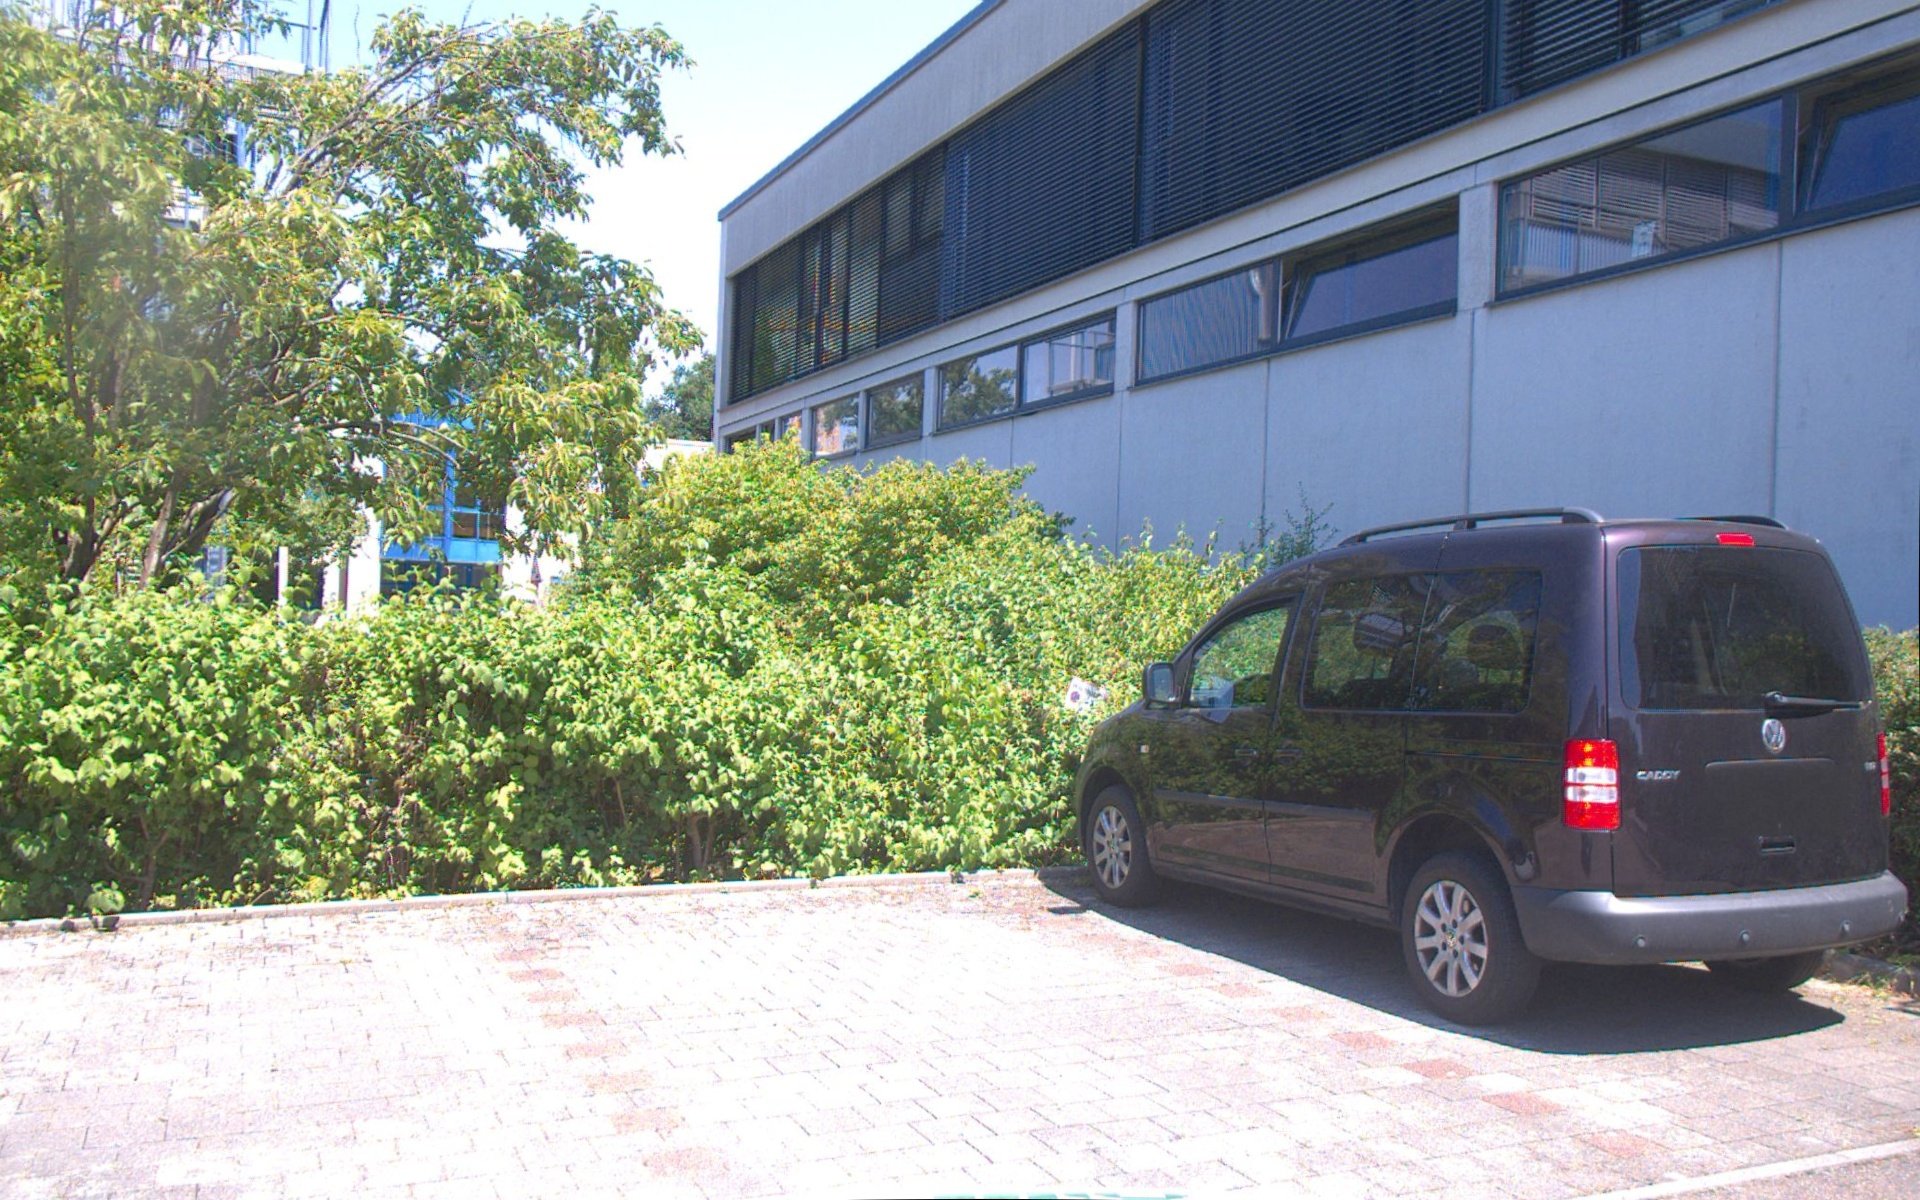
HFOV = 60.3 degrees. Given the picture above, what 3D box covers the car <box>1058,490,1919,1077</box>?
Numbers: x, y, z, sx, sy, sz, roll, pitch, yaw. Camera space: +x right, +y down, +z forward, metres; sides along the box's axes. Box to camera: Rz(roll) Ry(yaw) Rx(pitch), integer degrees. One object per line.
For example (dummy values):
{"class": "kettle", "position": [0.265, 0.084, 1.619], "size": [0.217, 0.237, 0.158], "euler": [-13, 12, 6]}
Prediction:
{"class": "car", "position": [2.125, 0.599, 7.450], "size": [1.721, 1.869, 3.969], "euler": [1, -1, -24]}
